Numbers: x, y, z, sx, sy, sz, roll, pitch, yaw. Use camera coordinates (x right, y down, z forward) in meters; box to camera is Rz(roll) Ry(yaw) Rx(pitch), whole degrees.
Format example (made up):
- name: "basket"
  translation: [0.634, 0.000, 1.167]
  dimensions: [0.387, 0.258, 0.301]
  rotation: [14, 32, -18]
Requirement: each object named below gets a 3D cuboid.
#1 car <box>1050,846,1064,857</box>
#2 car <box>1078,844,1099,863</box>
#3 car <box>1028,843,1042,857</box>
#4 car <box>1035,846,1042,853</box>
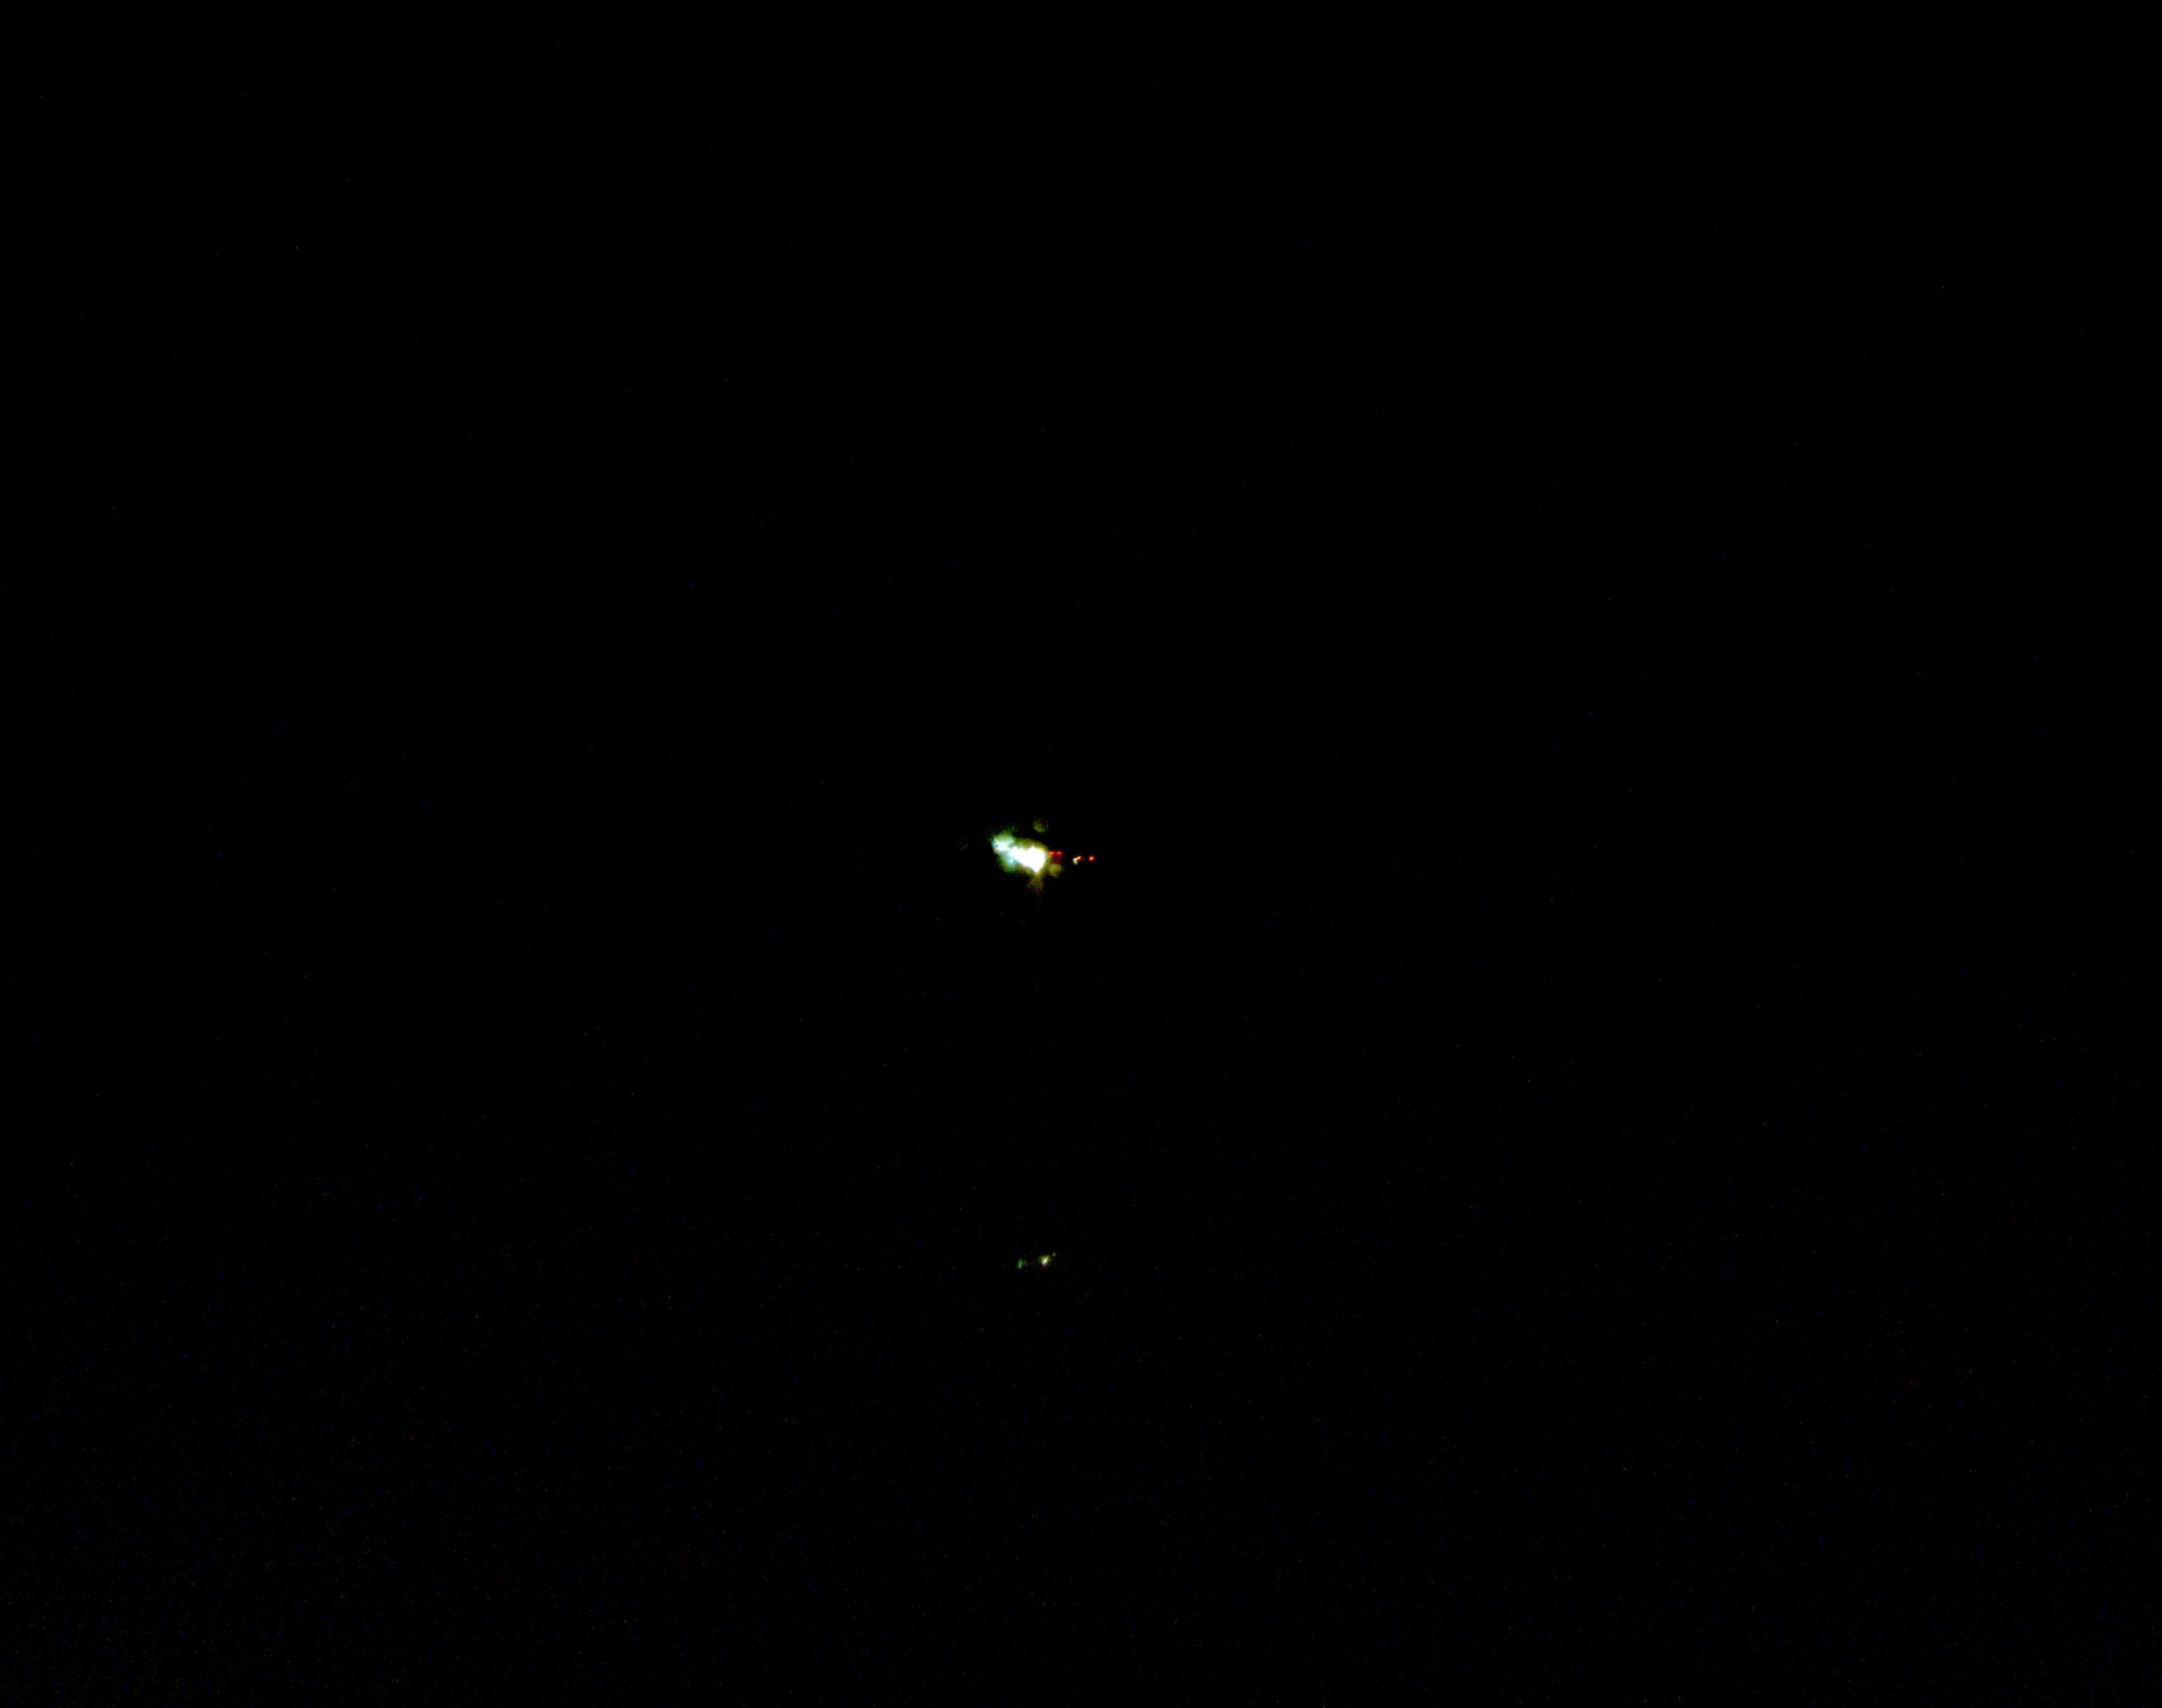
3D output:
- name: "car"
  translation: [-3.878, -0.415, 122.376]
  dimensions: [1.999, 1.615, 3.998]
  rotation: [-3, 1, -4]
- name: "car"
  translation: [0.788, -0.075, 82.904]
  dimensions: [1.999, 2.002, 4.273]
  rotation: [-1, 1, -3]
- name: "car"
  translation: [-7.165, -0.671, 117.740]
  dimensions: [2.000, 2.002, 3.996]
  rotation: [-1, 2, -7]
- name: "car"
  translation: [-9.849, -1.039, 175.897]
  dimensions: [1.601, 1.394, 3.467]
  rotation: [-1, 2, -6]
